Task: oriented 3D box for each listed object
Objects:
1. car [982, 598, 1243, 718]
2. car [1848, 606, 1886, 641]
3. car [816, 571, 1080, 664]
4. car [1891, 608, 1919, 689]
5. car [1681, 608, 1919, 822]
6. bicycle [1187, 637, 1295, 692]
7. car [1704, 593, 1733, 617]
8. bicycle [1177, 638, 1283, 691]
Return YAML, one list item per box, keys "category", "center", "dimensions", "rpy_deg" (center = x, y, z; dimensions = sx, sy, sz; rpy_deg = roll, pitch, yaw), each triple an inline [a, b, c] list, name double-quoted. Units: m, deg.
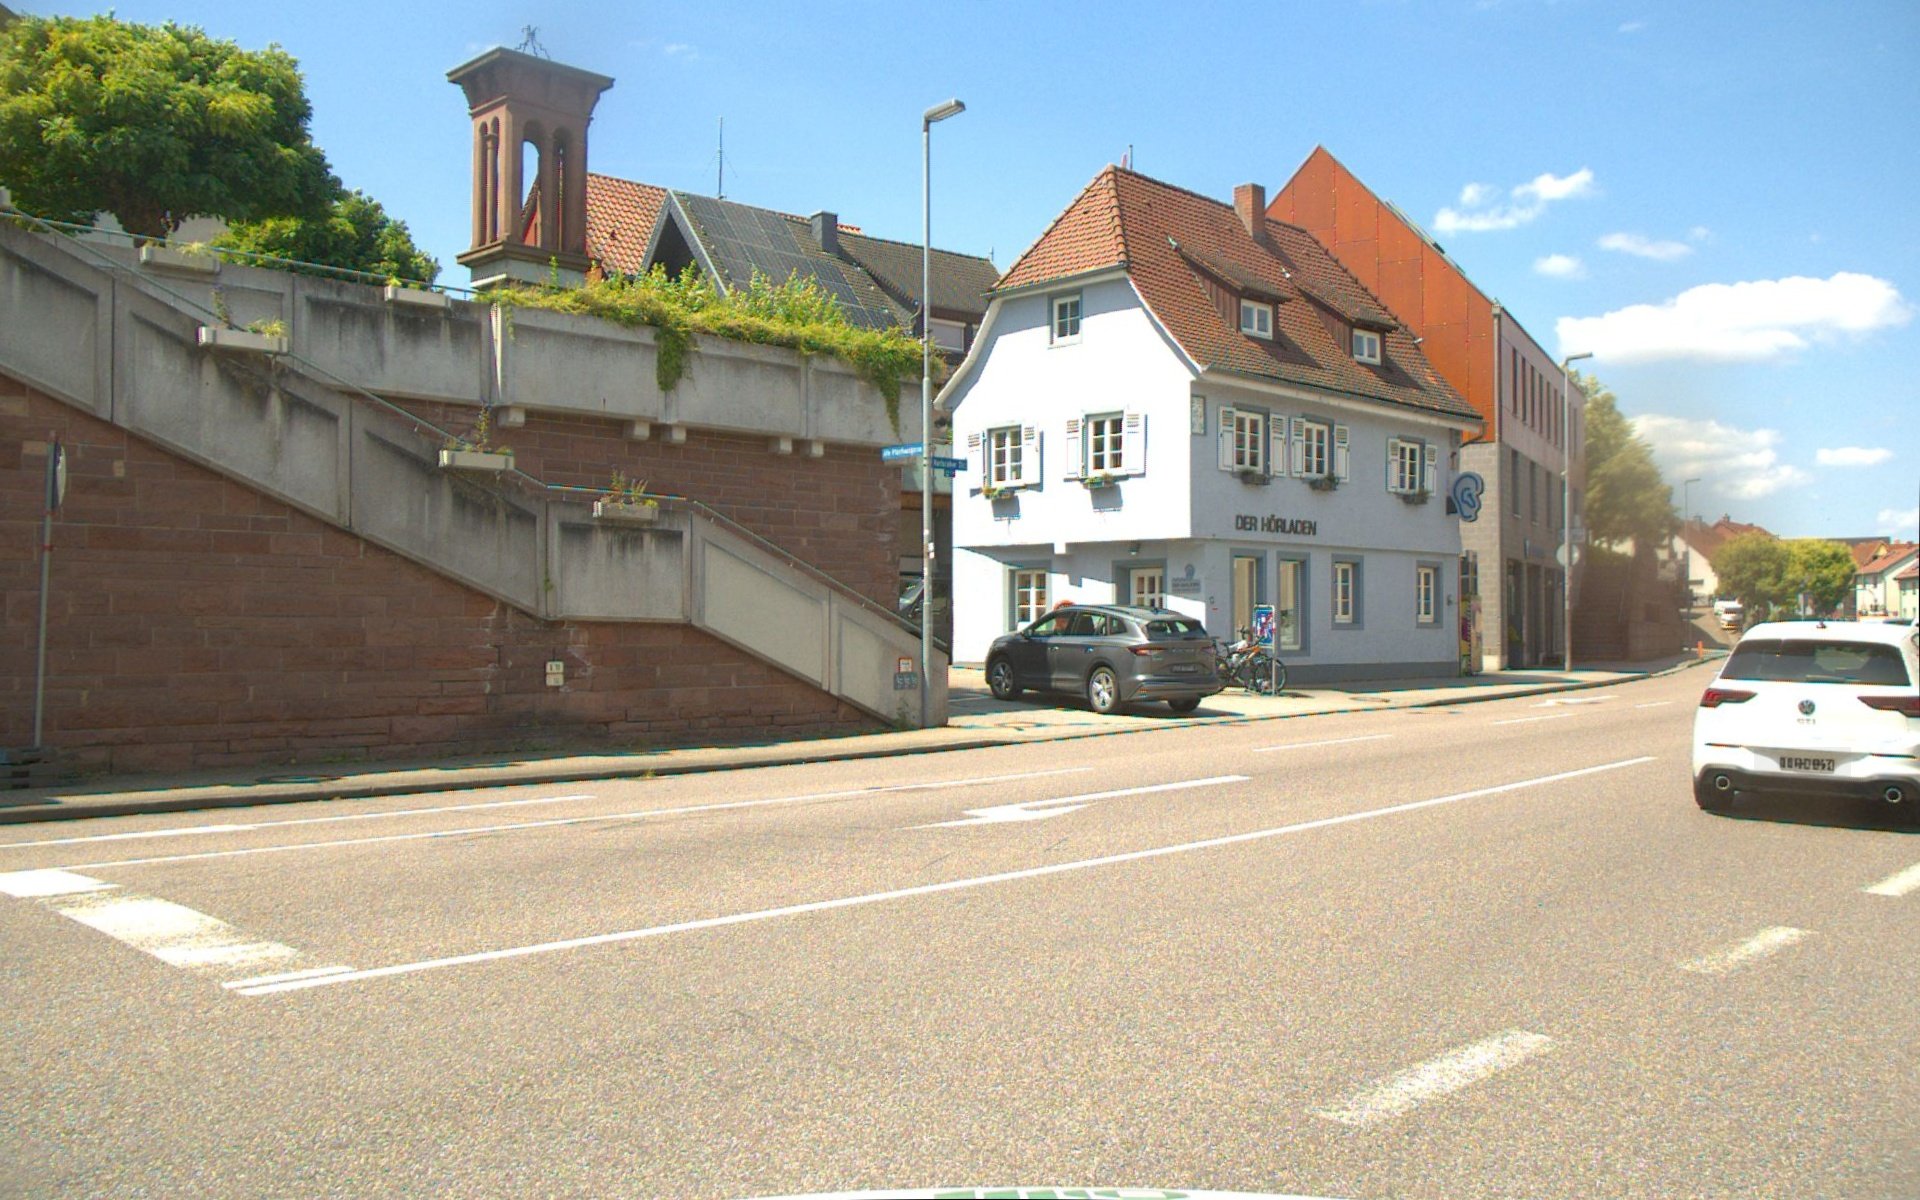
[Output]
- category: "car"
  center: [2.350, 0.846, 26.548]
  dimensions: [1.932, 1.610, 4.276]
  rpy_deg: [0, 2, -34]
- category: "car"
  center: [50.066, 1.300, 91.318]
  dimensions: [1.748, 1.872, 3.858]
  rpy_deg: [0, -1, 27]
- category: "car"
  center: [-0.226, 0.441, 38.972]
  dimensions: [5.931, 2.049, 2.491]
  rpy_deg: [1, -2, -37]
- category: "car"
  center: [19.026, 0.927, 31.714]
  dimensions: [1.752, 1.484, 3.850]
  rpy_deg: [0, -1, 34]
- category: "car"
  center: [7.235, 0.832, 13.413]
  dimensions: [1.753, 1.484, 3.847]
  rpy_deg: [0, -1, 36]
- category: "bicycle"
  center: [5.013, 1.144, 29.490]
  dimensions: [1.784, 0.915, 0.621]
  rpy_deg: [2, -1, -11]
- category: "car"
  center: [57.817, 0.383, 126.069]
  dimensions: [1.954, 1.747, 3.996]
  rpy_deg: [1, -1, 26]
- category: "bicycle"
  center: [4.909, 1.177, 30.145]
  dimensions: [1.784, 0.915, 0.647]
  rpy_deg: [2, -1, -11]
